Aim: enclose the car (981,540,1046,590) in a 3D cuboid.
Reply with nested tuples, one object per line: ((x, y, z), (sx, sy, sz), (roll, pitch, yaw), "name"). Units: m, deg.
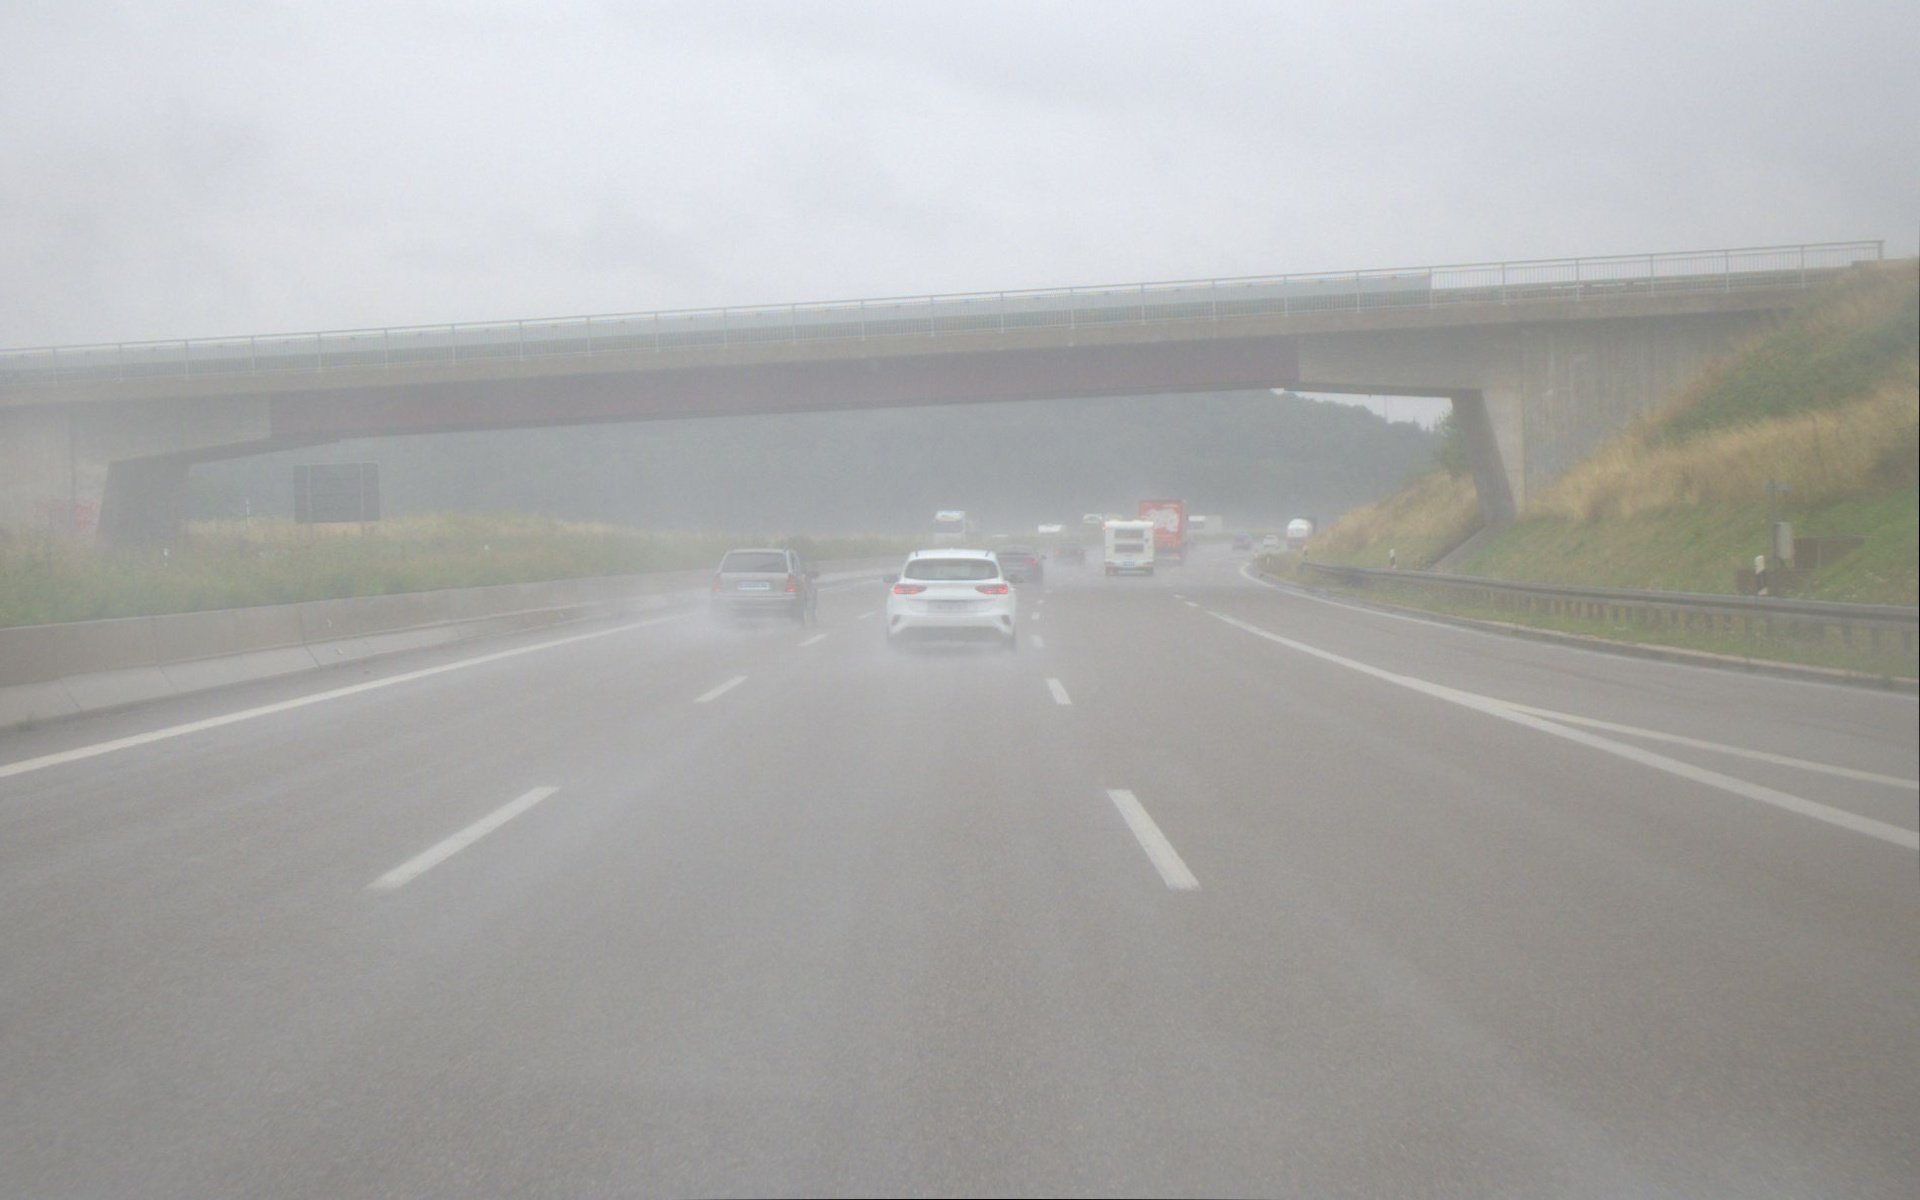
((1.818, -1.189, 114.925), (1.994, 1.612, 4.000), (0, 1, 3), "car")

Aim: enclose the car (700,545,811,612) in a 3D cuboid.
((-3.687, -0.378, 62.591), (1.823, 1.152, 4.213), (1, 0, -1), "car")

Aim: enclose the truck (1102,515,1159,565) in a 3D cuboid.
((7.818, -2.747, 157.451), (2.408, 2.244, 4.692), (0, 1, 5), "truck")

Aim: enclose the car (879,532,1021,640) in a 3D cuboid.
((-0.186, -0.208, 48.593), (1.867, 1.458, 4.000), (0, 0, -2), "car")

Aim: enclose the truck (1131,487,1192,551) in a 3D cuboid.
((12.188, -4.953, 209.067), (3.527, 3.730, 11.426), (1, 2, 3), "truck")
